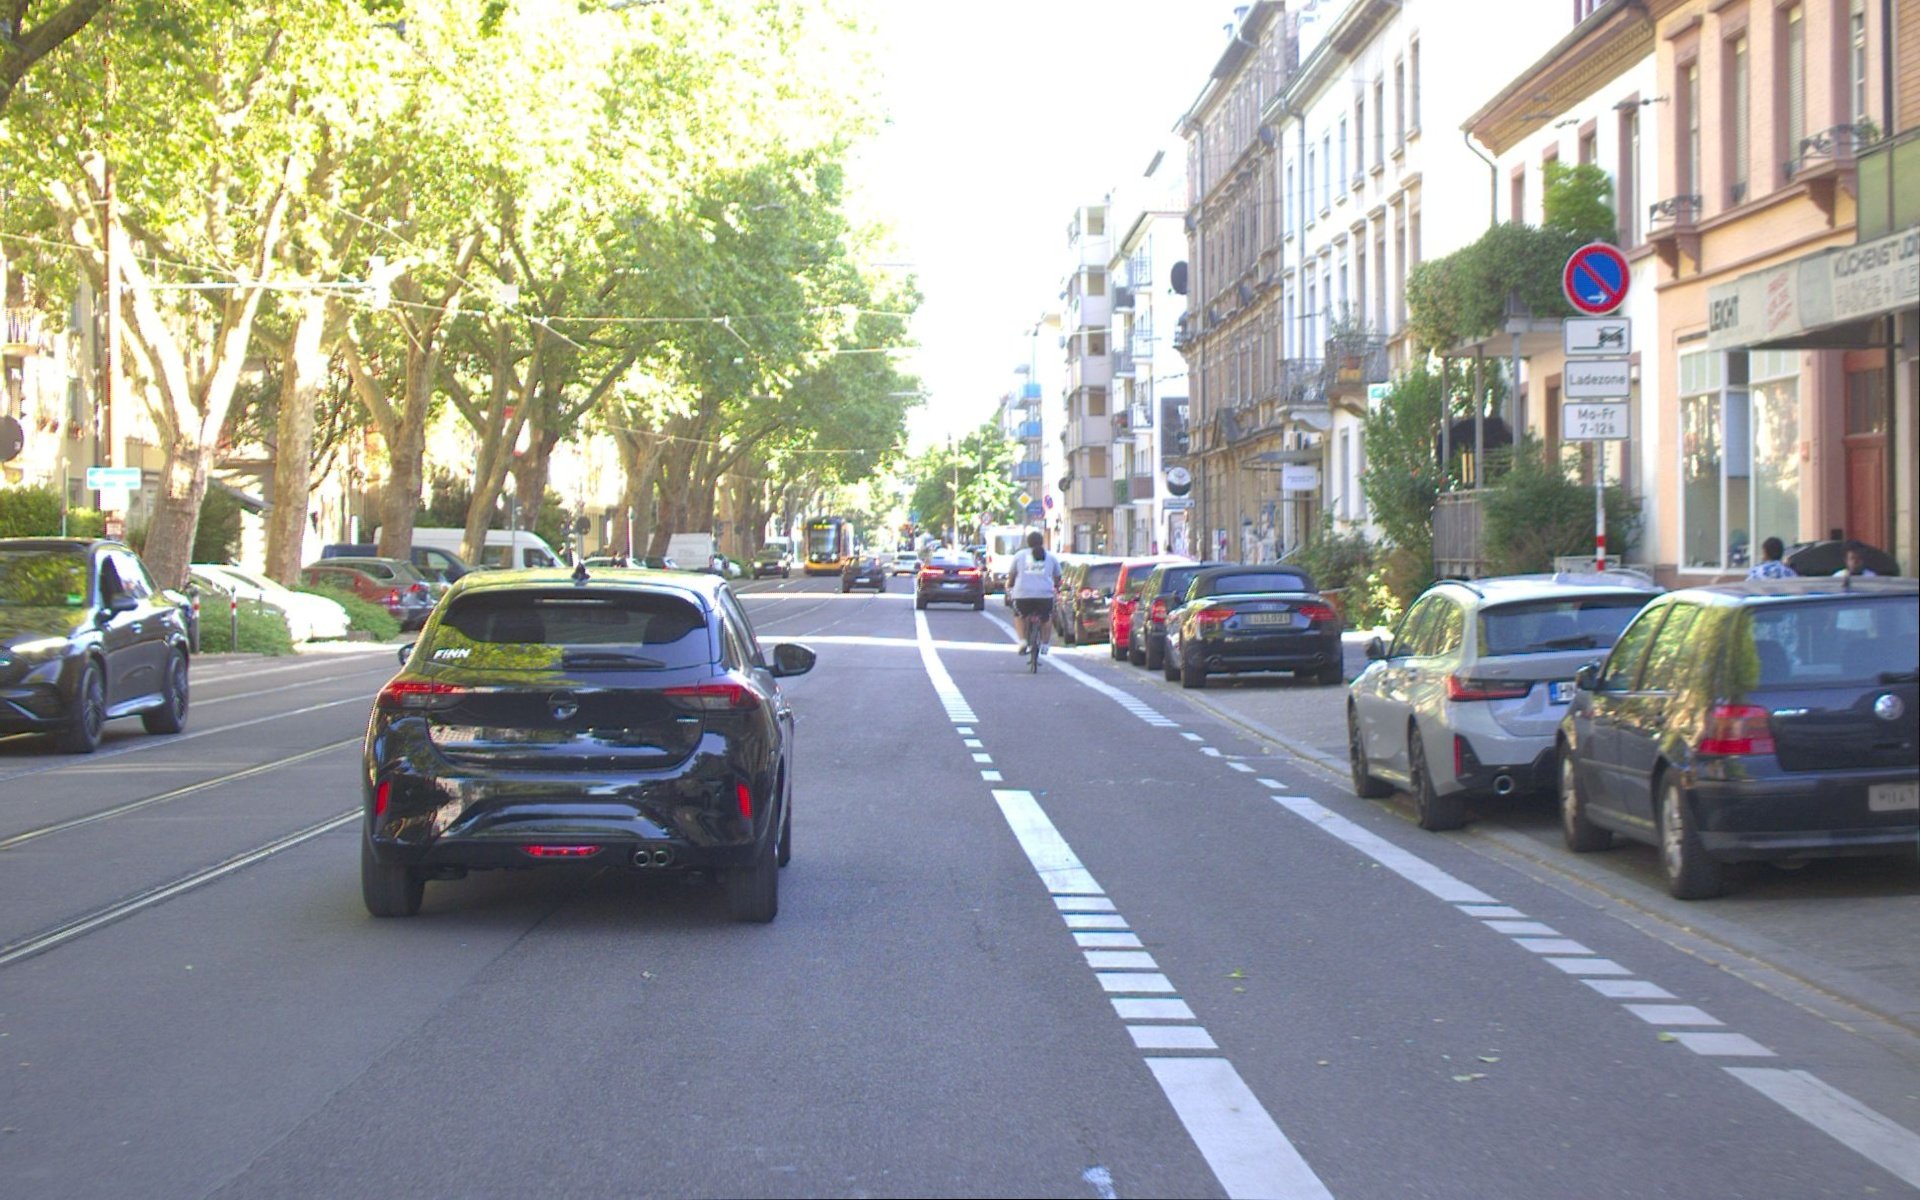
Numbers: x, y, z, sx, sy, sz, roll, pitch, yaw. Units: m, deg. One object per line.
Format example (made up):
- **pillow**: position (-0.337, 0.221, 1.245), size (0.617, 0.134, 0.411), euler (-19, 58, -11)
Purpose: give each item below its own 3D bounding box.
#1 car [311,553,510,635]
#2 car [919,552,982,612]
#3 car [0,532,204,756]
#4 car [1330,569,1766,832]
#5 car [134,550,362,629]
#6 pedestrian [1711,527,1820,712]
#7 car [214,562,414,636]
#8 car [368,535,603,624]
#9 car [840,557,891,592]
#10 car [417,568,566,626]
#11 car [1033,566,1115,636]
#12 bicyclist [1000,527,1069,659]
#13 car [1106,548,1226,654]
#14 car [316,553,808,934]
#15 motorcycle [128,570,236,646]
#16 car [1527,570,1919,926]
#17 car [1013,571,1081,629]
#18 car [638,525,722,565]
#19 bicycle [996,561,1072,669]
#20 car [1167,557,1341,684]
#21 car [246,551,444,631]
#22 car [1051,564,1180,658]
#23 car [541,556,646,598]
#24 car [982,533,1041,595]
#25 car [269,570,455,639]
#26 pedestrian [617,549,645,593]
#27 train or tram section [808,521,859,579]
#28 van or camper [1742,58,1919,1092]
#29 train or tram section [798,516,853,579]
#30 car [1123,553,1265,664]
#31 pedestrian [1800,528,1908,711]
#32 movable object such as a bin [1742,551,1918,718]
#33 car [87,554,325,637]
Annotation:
- **car**: position (-13.966, -0.159, 87.525), size (4.675, 1.917, 1.980), euler (2, 0, 1)
- **car**: position (-0.251, -0.523, 101.412), size (1.810, 1.736, 3.933), euler (0, 0, 1)
- **car**: position (-7.390, 0.279, 27.225), size (1.866, 1.624, 4.560), euler (0, 1, -1)
- **car**: position (3.515, 0.545, 21.400), size (1.809, 1.430, 4.665), euler (-1, 0, -1)
- **car**: position (-13.412, -0.190, 64.896), size (3.920, 1.457, 1.806), euler (0, 0, 0)
- **pedestrian**: position (6.653, 0.157, 28.411), size (0.660, 1.500, 0.866), euler (-1, 0, -1)
- **car**: position (-13.787, -0.025, 73.508), size (3.920, 1.437, 1.749), euler (2, 0, 0)
- **car**: position (-14.127, -0.605, 102.620), size (6.628, 2.401, 2.458), euler (2, 0, 0)
- **car**: position (-3.665, -0.988, 134.054), size (1.810, 1.334, 3.933), euler (1, 0, 1)
- **car**: position (-13.223, -0.093, 97.207), size (3.920, 1.493, 1.677), euler (2, 0, 1)
- **car**: position (2.599, 0.020, 79.207), size (1.710, 1.478, 3.764), euler (-3, 0, 1)
- **bicyclist**: position (0.989, -0.091, 45.958), size (0.848, 1.734, 1.162), euler (1, 0, -2)
- **car**: position (3.113, 0.002, 52.468), size (1.634, 1.541, 3.576), euler (-1, 0, 1)
- **car**: position (-1.623, 0.533, 15.095), size (1.794, 1.436, 3.531), euler (1, 1, -1)
- **motorcycle**: position (-12.215, 0.112, 54.027), size (0.884, 1.143, 2.390), euler (1, 1, 7)
- **car**: position (3.910, 0.612, 16.596), size (1.645, 1.429, 4.029), euler (-3, 0, 1)
- **car**: position (2.367, -0.004, 92.934), size (1.705, 1.451, 3.697), euler (-3, 0, 3)
- **car**: position (-13.348, -2.606, 164.066), size (3.919, 1.784, 1.677), euler (2, 0, -3)
- **bicycle**: position (0.977, 0.186, 45.929), size (0.860, 1.402, 2.524), euler (1, 0, -2)
- **car**: position (3.413, 0.218, 40.604), size (1.694, 1.388, 4.494), euler (-1, 0, 1)
- **car**: position (-13.513, -0.205, 75.695), size (3.994, 1.621, 1.879), euler (2, 0, -1)
- **car**: position (2.855, 0.191, 63.823), size (1.880, 1.580, 3.933), euler (-3, 0, -4)
- **car**: position (-14.222, -0.881, 133.628), size (3.919, 1.493, 1.677), euler (2, 0, -3)
- **car**: position (1.930, -1.347, 130.524), size (2.075, 2.211, 4.933), euler (-3, 0, 1)
- **car**: position (-13.561, 0.100, 78.099), size (3.919, 1.417, 1.819), euler (2, 0, -2)
- **pedestrian**: position (-11.621, -1.025, 121.366), size (0.766, 1.561, 0.681), euler (1, 0, -25)
- **train or tram section**: position (-8.128, -3.187, 222.825), size (2.735, 3.669, 12.716), euler (0, 0, 0)
- **van or camper**: position (3.966, -0.083, 7.861), size (2.477, 2.962, 7.884), euler (-3, 0, 1)
- **train or tram section**: position (-8.177, -3.145, 210.158), size (2.735, 3.669, 12.716), euler (0, 0, 0)
- **car**: position (3.229, 0.104, 47.964), size (1.651, 1.451, 3.868), euler (-1, 0, -1)
- **pedestrian**: position (7.387, 0.157, 28.434), size (0.657, 1.478, 0.785), euler (1, 0, -2)
- **movable object such as a bin**: position (8.150, 0.312, 32.270), size (1.293, 1.515, 1.286), euler (1, 0, -1)
- **car**: position (-13.599, -0.081, 62.169), size (3.921, 1.448, 1.800), euler (0, 0, -1)
